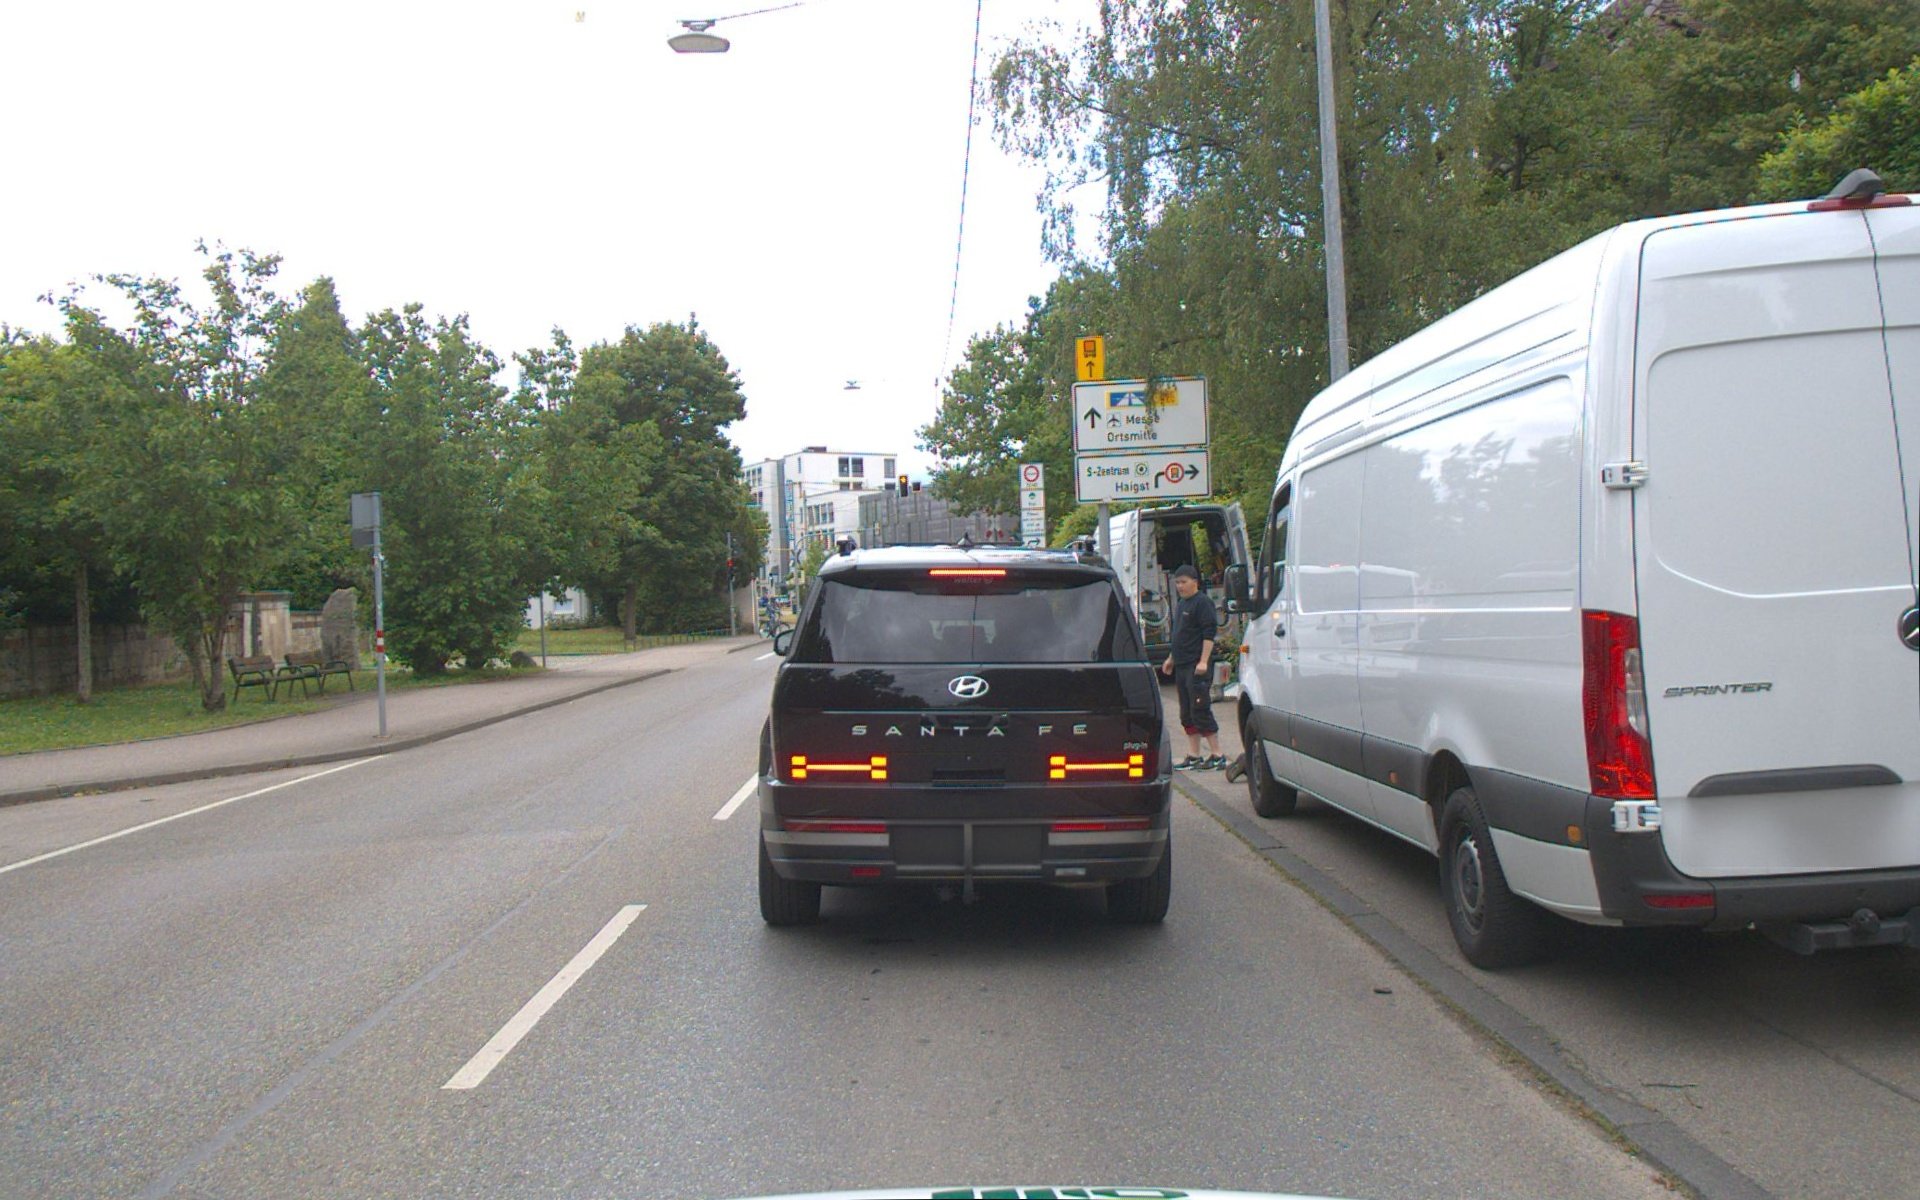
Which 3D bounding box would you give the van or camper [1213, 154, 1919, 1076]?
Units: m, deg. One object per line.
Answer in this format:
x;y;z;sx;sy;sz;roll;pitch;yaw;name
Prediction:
2.863;-0.006;8.110;1.924;2.673;6.356;-4;0;-2;van or camper

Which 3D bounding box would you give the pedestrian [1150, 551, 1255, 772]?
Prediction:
2.005;0.505;13.705;0.610;1.774;0.600;0;-2;-28;pedestrian

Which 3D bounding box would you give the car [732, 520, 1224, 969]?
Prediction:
0.022;0.561;8.534;1.924;1.741;3.999;-1;0;-2;car

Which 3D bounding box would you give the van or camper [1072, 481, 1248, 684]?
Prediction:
3.118;-0.266;26.943;1.924;2.845;5.285;-4;0;-2;van or camper

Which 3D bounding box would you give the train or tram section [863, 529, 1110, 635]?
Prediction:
0.813;-0.635;83.090;3.161;4.602;18.484;0;-2;-31;train or tram section

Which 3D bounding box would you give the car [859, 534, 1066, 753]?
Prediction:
-0.030;0.400;17.545;1.924;2.036;3.999;-1;0;-2;car

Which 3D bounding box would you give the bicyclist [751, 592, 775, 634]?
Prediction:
-8.154;0.546;68.558;0.837;1.688;0.678;-1;-2;8;bicyclist

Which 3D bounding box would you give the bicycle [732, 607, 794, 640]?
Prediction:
-8.152;0.981;68.546;2.439;1.302;0.678;-1;-2;8;bicycle
